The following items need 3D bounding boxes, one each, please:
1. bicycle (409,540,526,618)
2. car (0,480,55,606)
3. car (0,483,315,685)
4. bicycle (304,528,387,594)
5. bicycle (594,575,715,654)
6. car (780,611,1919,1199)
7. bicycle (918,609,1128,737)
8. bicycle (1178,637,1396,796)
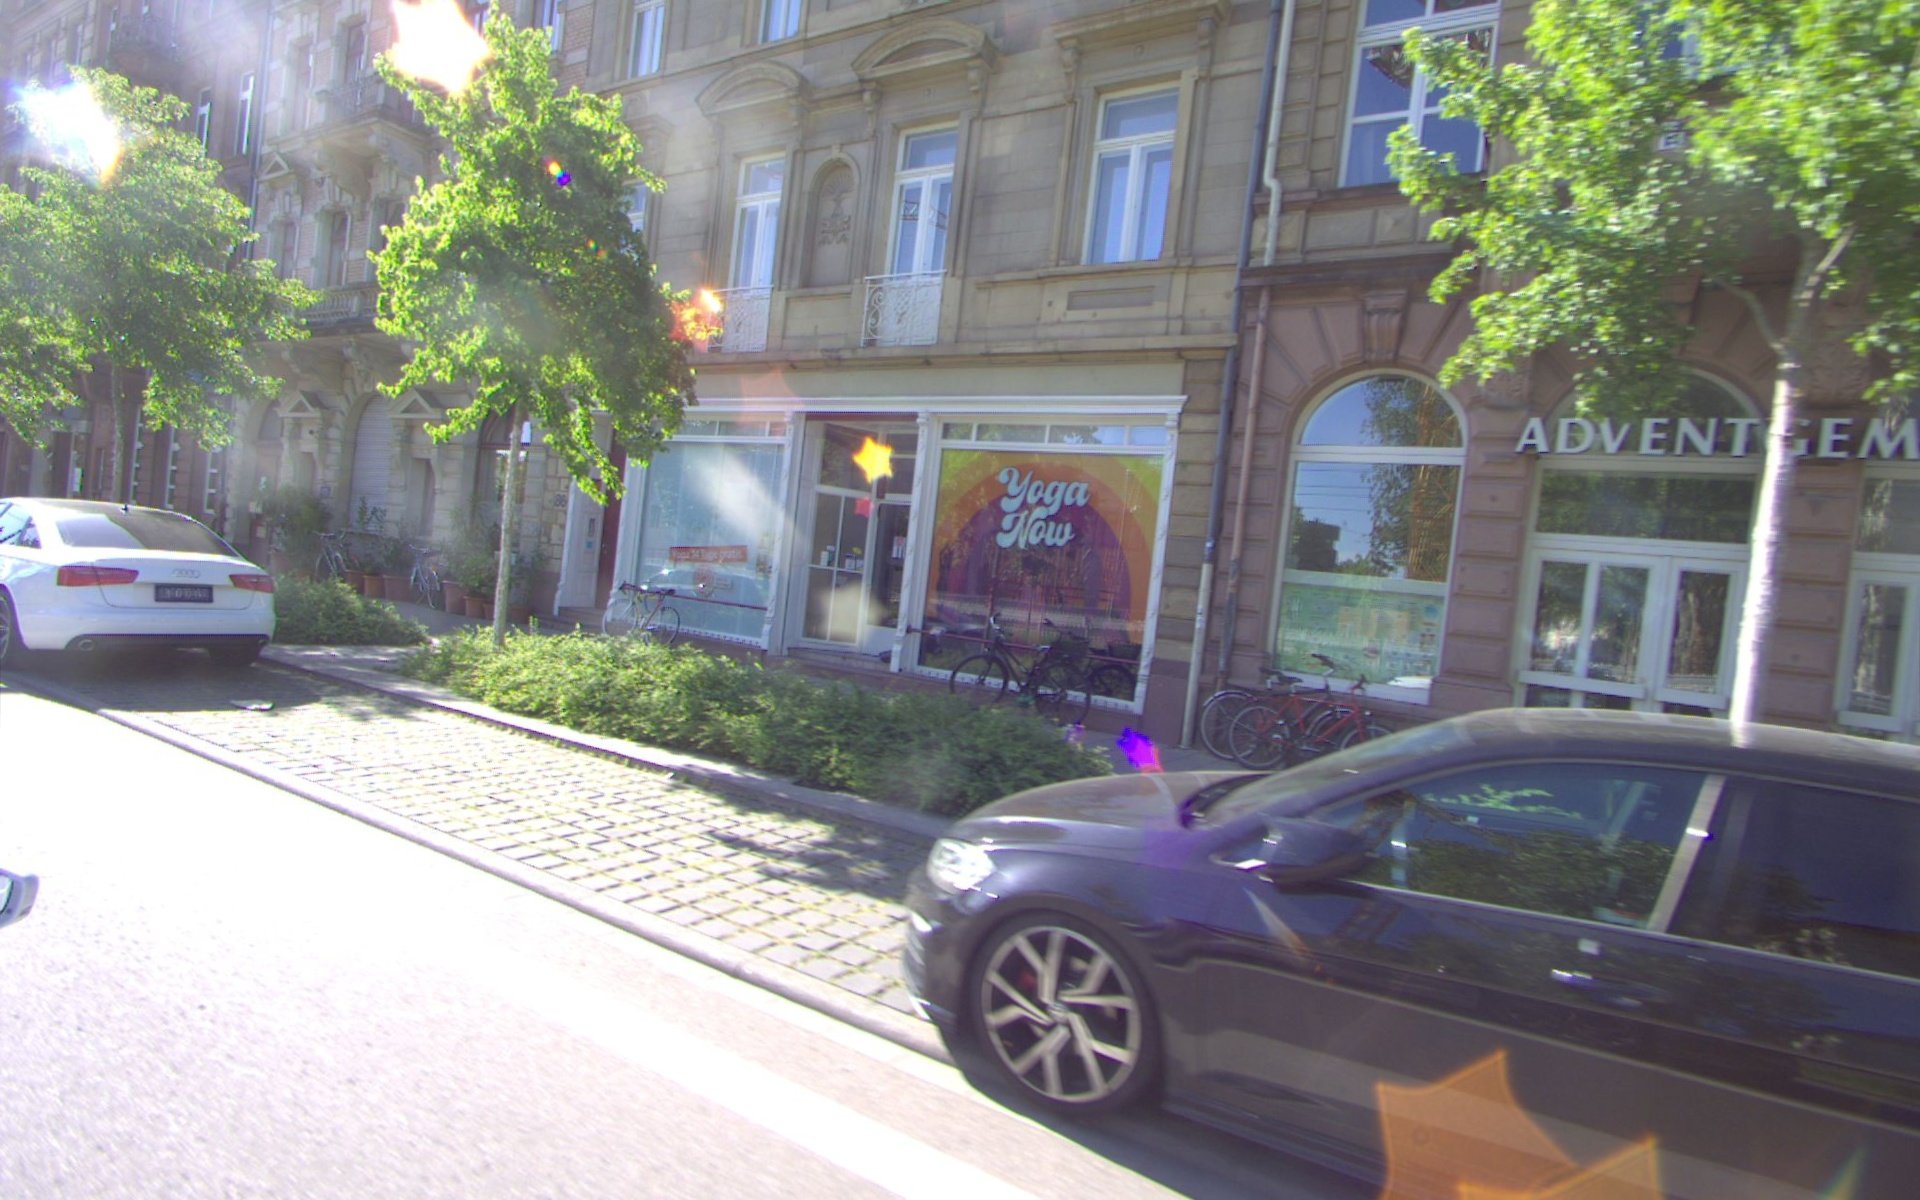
[{"bbox_3d":[-8.492,-0.372,17.309,2.162,1.104,0.721,7,2,32],"label":"bicycle"},{"bbox_3d":[-14.208,-0.926,13.544,4.150,1.590,1.884,6,2,32],"label":"car"},{"bbox_3d":[-8.700,-0.311,9.910,5.021,1.515,1.952,7,2,32],"label":"car"},{"bbox_3d":[-12.031,-0.772,19.674,2.023,1.104,0.481,7,2,32],"label":"bicycle"},{"bbox_3d":[-4.618,0.206,15.139,1.979,0.956,0.447,7,0,32],"label":"bicycle"},{"bbox_3d":[1.751,1.003,3.179,4.373,1.496,1.767,6,2,29],"label":"car"},{"bbox_3d":[0.703,0.778,11.475,2.144,1.120,0.876,7,3,29],"label":"bicycle"},{"bbox_3d":[3.134,1.069,9.697,1.771,1.217,0.748,6,2,32],"label":"bicycle"}]
